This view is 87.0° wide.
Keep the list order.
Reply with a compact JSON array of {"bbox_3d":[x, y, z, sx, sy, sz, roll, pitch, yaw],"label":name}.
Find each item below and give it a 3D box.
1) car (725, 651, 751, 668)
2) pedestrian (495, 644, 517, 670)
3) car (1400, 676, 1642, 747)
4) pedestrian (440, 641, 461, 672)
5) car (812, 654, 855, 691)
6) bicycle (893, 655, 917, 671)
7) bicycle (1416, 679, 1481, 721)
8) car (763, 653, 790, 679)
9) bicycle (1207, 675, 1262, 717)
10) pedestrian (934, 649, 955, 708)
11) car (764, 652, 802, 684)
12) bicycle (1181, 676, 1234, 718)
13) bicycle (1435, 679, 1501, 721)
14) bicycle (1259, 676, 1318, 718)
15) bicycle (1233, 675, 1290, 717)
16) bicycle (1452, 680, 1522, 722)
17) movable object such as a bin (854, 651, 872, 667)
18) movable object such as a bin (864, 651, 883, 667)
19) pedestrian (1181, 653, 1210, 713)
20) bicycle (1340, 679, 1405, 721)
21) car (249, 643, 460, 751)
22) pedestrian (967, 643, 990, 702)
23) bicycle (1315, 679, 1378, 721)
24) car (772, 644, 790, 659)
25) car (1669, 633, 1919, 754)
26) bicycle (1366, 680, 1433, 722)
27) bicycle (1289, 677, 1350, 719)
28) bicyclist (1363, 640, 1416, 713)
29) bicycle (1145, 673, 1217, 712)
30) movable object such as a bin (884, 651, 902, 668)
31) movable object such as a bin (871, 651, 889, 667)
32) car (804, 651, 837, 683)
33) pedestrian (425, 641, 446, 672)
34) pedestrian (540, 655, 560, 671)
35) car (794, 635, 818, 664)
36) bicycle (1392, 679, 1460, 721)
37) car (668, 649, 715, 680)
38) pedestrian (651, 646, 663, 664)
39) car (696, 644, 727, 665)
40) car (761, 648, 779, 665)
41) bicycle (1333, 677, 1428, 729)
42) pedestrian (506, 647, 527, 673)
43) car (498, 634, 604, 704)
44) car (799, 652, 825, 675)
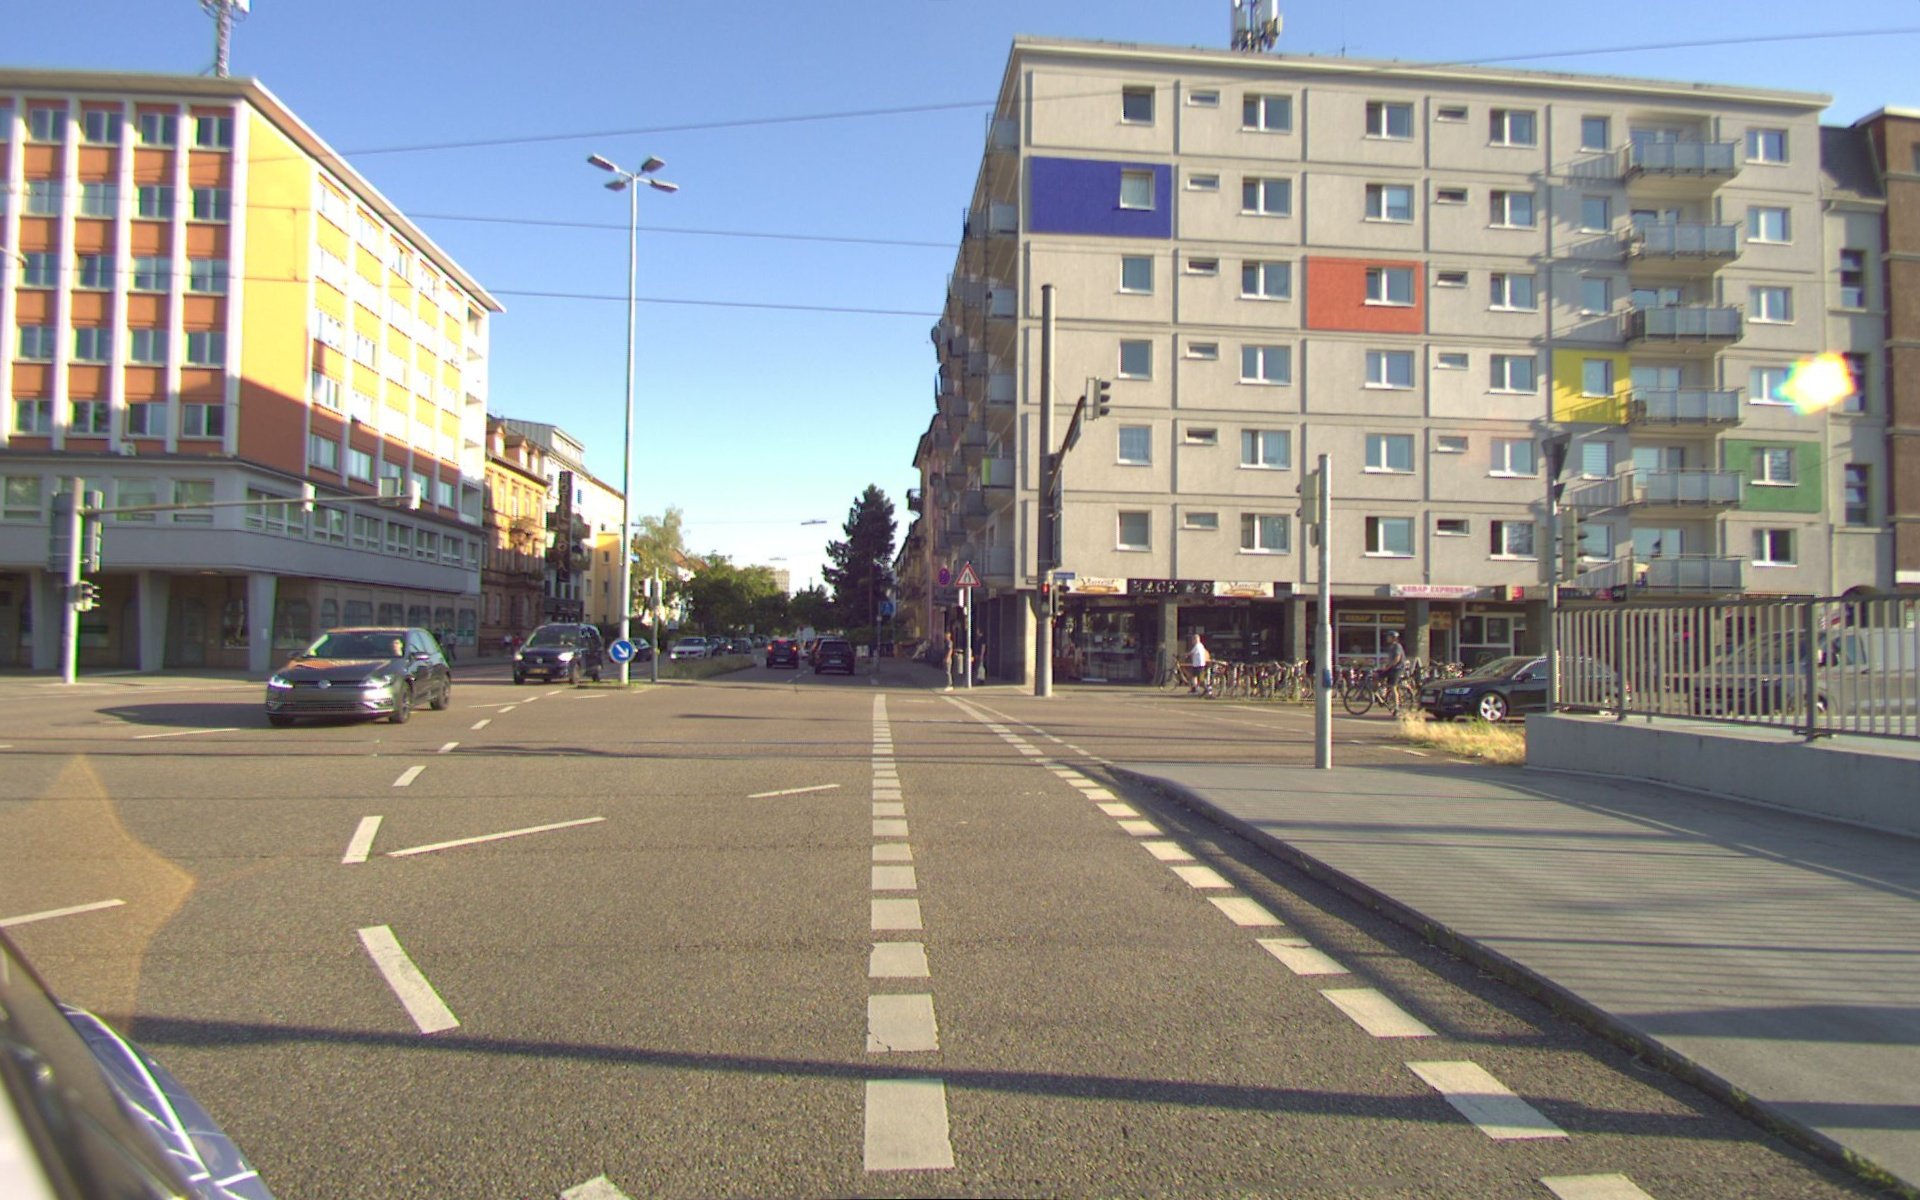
[{"bbox_3d":[-20.930,5.576,95.442,1.879,1.552,4.005,1,-2,-6],"label":"car"},{"bbox_3d":[-29.625,3.723,66.054,0.777,1.600,1.010,5,-3,4],"label":"pedestrian"},{"bbox_3d":[11.719,2.324,21.287,4.136,1.323,1.804,1,-3,-6],"label":"car"},{"bbox_3d":[-28.620,3.175,56.896,0.658,1.739,1.012,1,-3,-4],"label":"pedestrian"},{"bbox_3d":[-5.677,3.266,45.754,1.773,1.577,4.152,2,-4,-5],"label":"car"},{"bbox_3d":[-4.263,4.836,78.246,1.753,1.200,0.474,1,-3,-7],"label":"bicycle"},{"bbox_3d":[14.001,2.858,29.086,0.554,1.059,2.302,1,-2,-5],"label":"bicycle"},{"bbox_3d":[-12.143,4.342,66.882,1.653,1.556,3.814,3,-3,-11],"label":"car"},{"bbox_3d":[7.721,2.694,28.562,0.726,1.059,2.302,1,-2,-5],"label":"bicycle"},{"bbox_3d":[-0.492,2.442,31.625,0.601,1.800,0.812,-2,-3,-2],"label":"pedestrian"},{"bbox_3d":[-9.156,3.507,52.609,1.559,1.556,3.480,3,-3,-5],"label":"car"},{"bbox_3d":[6.928,2.702,28.471,0.726,1.059,2.302,1,-3,-5],"label":"bicycle"},{"bbox_3d":[14.579,2.856,29.134,0.554,1.059,2.302,1,-2,-5],"label":"bicycle"},{"bbox_3d":[9.297,2.732,28.761,0.726,1.059,2.302,1,-2,-5],"label":"bicycle"},{"bbox_3d":[8.519,2.689,28.666,0.726,1.059,2.302,1,-2,-5],"label":"bicycle"},{"bbox_3d":[15.153,2.881,29.166,0.637,1.059,2.302,1,-2,-5],"label":"bicycle"},{"bbox_3d":[-7.805,4.760,81.307,0.848,1.242,1.178,-1,-4,37],"label":"movable object such as a bin"},{"bbox_3d":[-6.907,4.735,80.882,1.176,1.242,0.850,4,-4,-45],"label":"movable object such as a bin"},{"bbox_3d":[6.991,2.452,30.063,0.601,1.736,0.685,-1,-3,-5],"label":"pedestrian"},{"bbox_3d":[11.745,2.830,28.873,0.726,1.059,2.302,1,-2,-5],"label":"bicycle"},{"bbox_3d":[-9.403,1.437,16.117,1.742,1.470,4.281,2,-3,-15],"label":"car"},{"bbox_3d":[0.610,2.369,33.188,0.601,1.890,0.813,-2,-3,-4],"label":"pedestrian"},{"bbox_3d":[10.982,2.826,28.836,0.726,1.059,2.302,1,-2,-5],"label":"bicycle"},{"bbox_3d":[-19.831,5.709,112.277,1.698,1.641,4.109,2,-3,-8],"label":"car"},{"bbox_3d":[15.935,1.668,18.368,4.862,2.029,2.003,1,-3,-6],"label":"car"},{"bbox_3d":[12.537,2.859,28.938,0.726,1.059,2.302,1,-2,-5],"label":"bicycle"},{"bbox_3d":[10.200,2.767,28.786,0.726,1.059,2.302,1,-2,-5],"label":"bicycle"},{"bbox_3d":[9.854,1.742,23.243,0.727,1.610,0.964,2,-4,-4],"label":"bicyclist"},{"bbox_3d":[6.669,2.790,30.605,2.035,1.100,0.520,2,-4,-5],"label":"bicycle"},{"bbox_3d":[-5.211,4.629,78.666,1.176,1.242,0.850,4,-4,-45],"label":"movable object such as a bin"},{"bbox_3d":[-6.320,4.703,80.222,1.176,1.242,0.850,4,-4,-45],"label":"movable object such as a bin"},{"bbox_3d":[-8.198,3.921,59.551,1.793,1.724,4.793,3,-3,-7],"label":"car"},{"bbox_3d":[-29.472,3.168,56.830,0.658,1.739,1.012,1,-3,-5],"label":"pedestrian"},{"bbox_3d":[-30.076,4.634,74.233,1.084,1.144,0.926,1,-3,-7],"label":"pedestrian"},{"bbox_3d":[-15.778,5.088,103.768,2.104,2.777,4.472,2,-3,-6],"label":"car"},{"bbox_3d":[13.334,2.838,29.043,0.726,1.059,2.302,1,-2,-5],"label":"bicycle"},{"bbox_3d":[-14.556,3.499,55.046,1.879,1.552,4.005,1,-2,-6],"label":"car"},{"bbox_3d":[-28.134,5.060,93.959,0.728,1.614,1.011,3,-3,-1],"label":"pedestrian"},{"bbox_3d":[-19.784,4.306,80.685,1.879,1.552,4.005,1,-2,-6],"label":"car"},{"bbox_3d":[-18.888,5.641,100.601,1.654,1.556,4.110,3,-3,-9],"label":"car"},{"bbox_3d":[9.617,2.352,23.186,1.756,1.106,0.952,2,-4,-4],"label":"bicycle"},{"bbox_3d":[-28.911,3.896,65.967,0.729,1.600,1.010,5,-3,3],"label":"pedestrian"},{"bbox_3d":[-11.923,1.983,29.800,1.866,1.868,4.474,2,-3,-9],"label":"car"},{"bbox_3d":[-10.729,4.606,73.401,1.653,1.556,3.645,3,-3,-10],"label":"car"}]
